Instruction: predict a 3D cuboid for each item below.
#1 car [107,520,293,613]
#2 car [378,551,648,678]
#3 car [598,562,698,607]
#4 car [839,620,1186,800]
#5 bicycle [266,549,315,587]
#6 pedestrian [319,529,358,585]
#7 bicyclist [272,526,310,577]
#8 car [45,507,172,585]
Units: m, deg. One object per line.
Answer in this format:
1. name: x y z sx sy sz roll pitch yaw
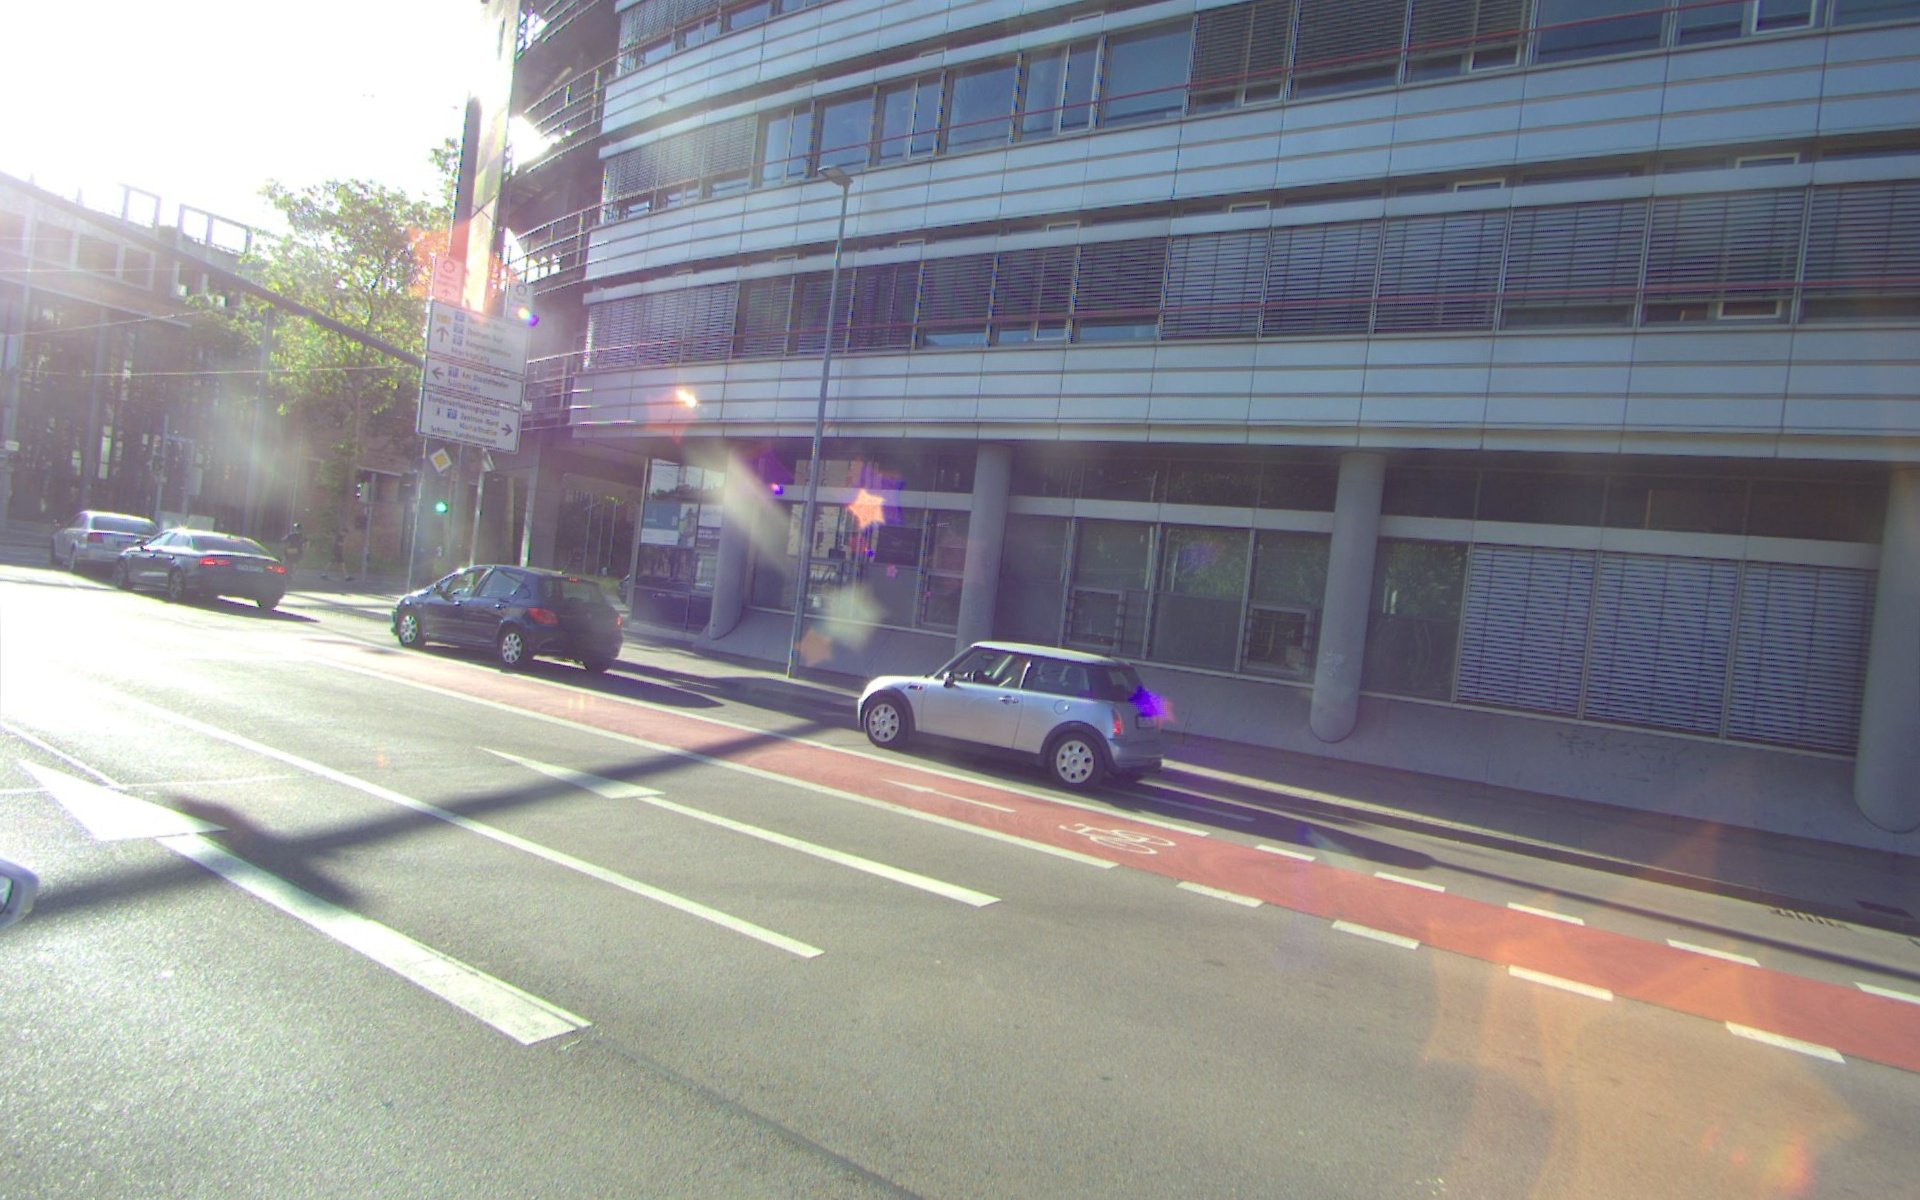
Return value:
1. car: -15.567 -0.702 20.564 3.953 1.457 1.697 6 -1 33
2. car: -7.111 0.221 15.944 3.910 1.493 1.864 7 0 30
3. car: -13.934 -0.667 45.123 1.837 1.492 3.968 7 -1 33
4. car: 0.574 1.177 11.522 3.477 1.405 1.664 7 -1 31
5. bicycle: -20.362 -0.990 30.643 0.657 1.031 2.174 8 1 -20
6. pedestrian: -20.863 -1.443 33.755 0.578 1.754 0.790 6 -1 39
7. bicyclist: -20.225 -1.464 30.430 0.657 1.425 0.811 7 1 -20
8. car: -20.689 -1.339 24.390 3.925 1.493 1.693 6 0 41
